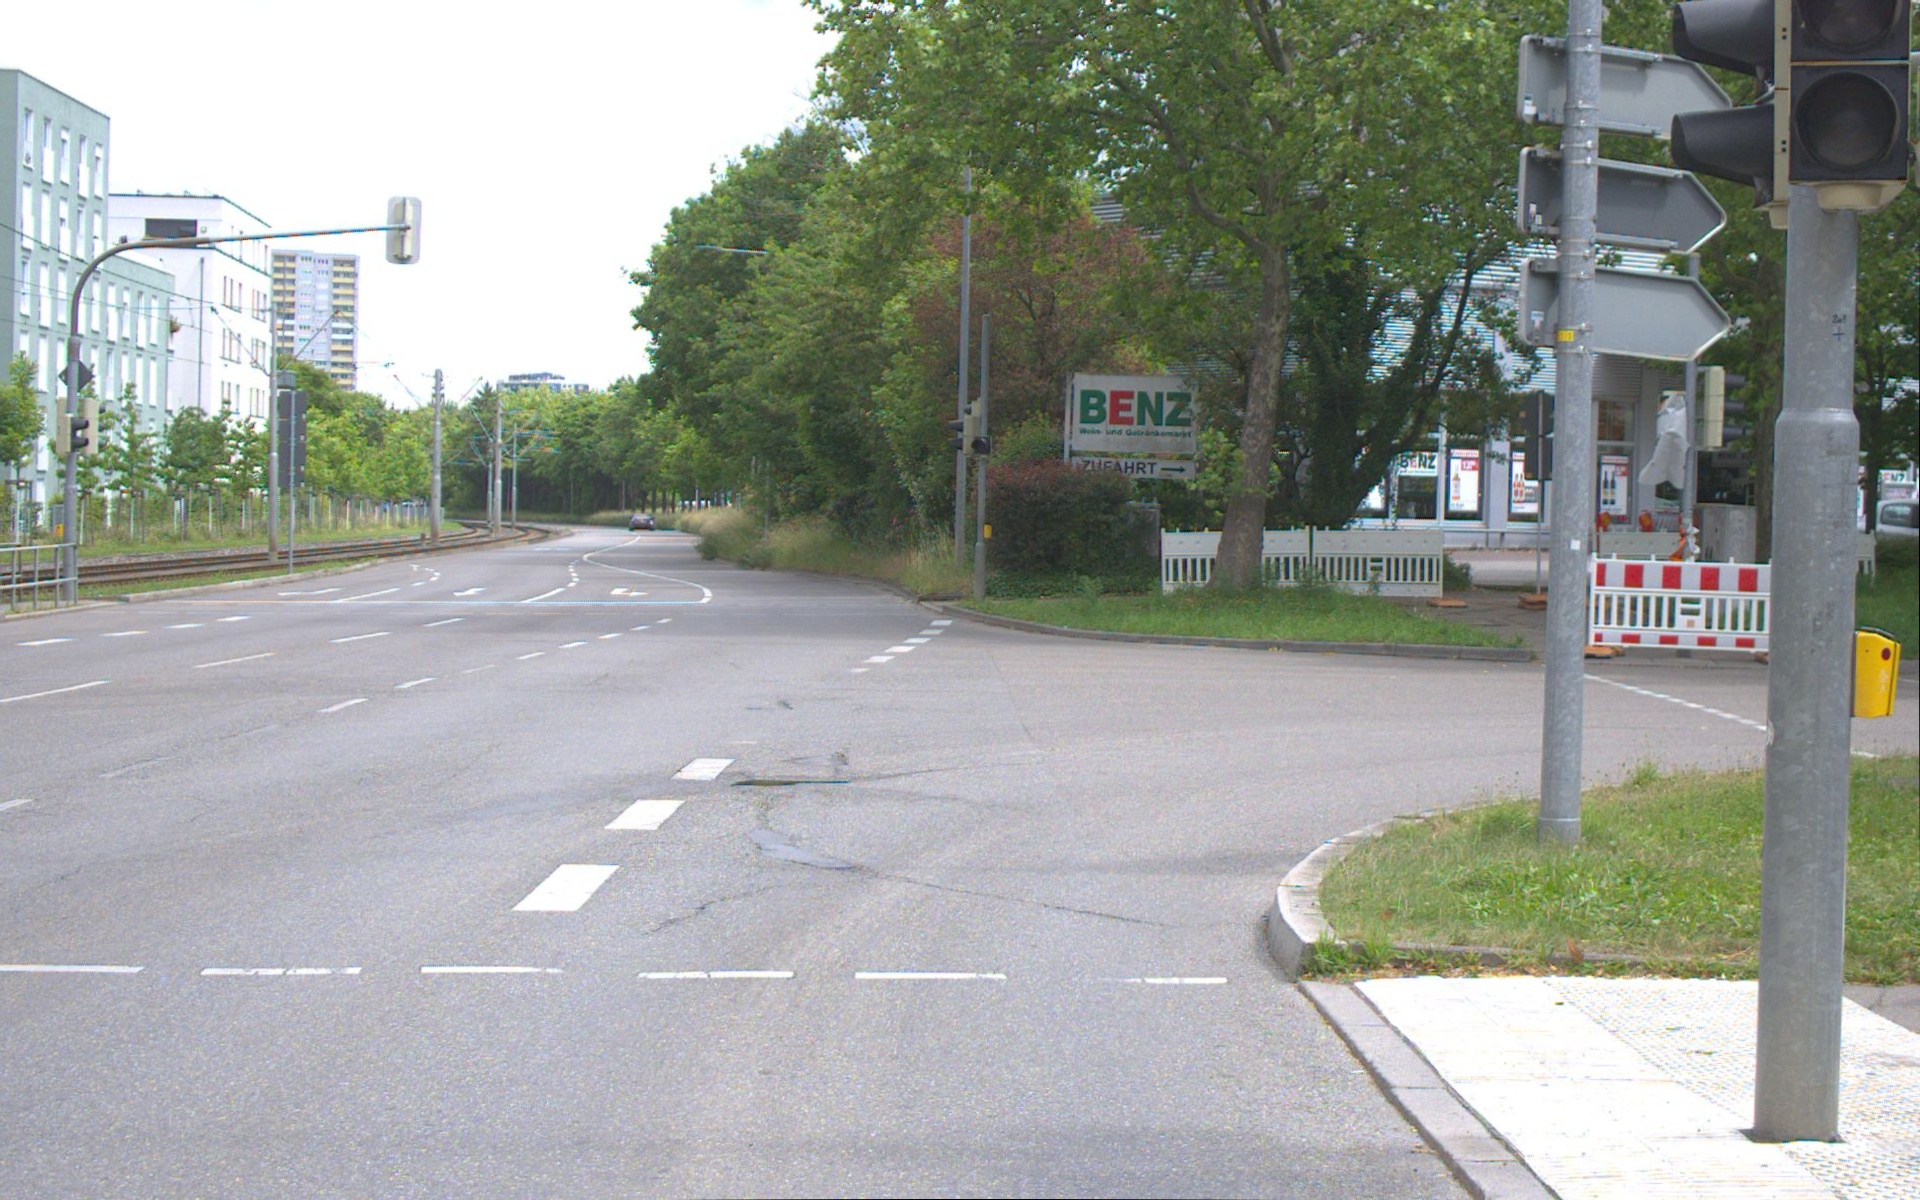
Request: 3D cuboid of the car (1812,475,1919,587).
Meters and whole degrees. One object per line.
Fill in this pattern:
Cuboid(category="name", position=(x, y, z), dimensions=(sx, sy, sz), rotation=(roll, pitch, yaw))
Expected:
Cuboid(category="car", position=(17.729, -1.255, 62.680), dimensions=(1.993, 2.007, 4.000), rotation=(0, 2, -32))

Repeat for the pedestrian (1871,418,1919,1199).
Cuboid(category="pedestrian", position=(1.965, 0.539, 5.754), dimensions=(0.823, 1.665, 0.733), rotation=(1, 1, 16))
